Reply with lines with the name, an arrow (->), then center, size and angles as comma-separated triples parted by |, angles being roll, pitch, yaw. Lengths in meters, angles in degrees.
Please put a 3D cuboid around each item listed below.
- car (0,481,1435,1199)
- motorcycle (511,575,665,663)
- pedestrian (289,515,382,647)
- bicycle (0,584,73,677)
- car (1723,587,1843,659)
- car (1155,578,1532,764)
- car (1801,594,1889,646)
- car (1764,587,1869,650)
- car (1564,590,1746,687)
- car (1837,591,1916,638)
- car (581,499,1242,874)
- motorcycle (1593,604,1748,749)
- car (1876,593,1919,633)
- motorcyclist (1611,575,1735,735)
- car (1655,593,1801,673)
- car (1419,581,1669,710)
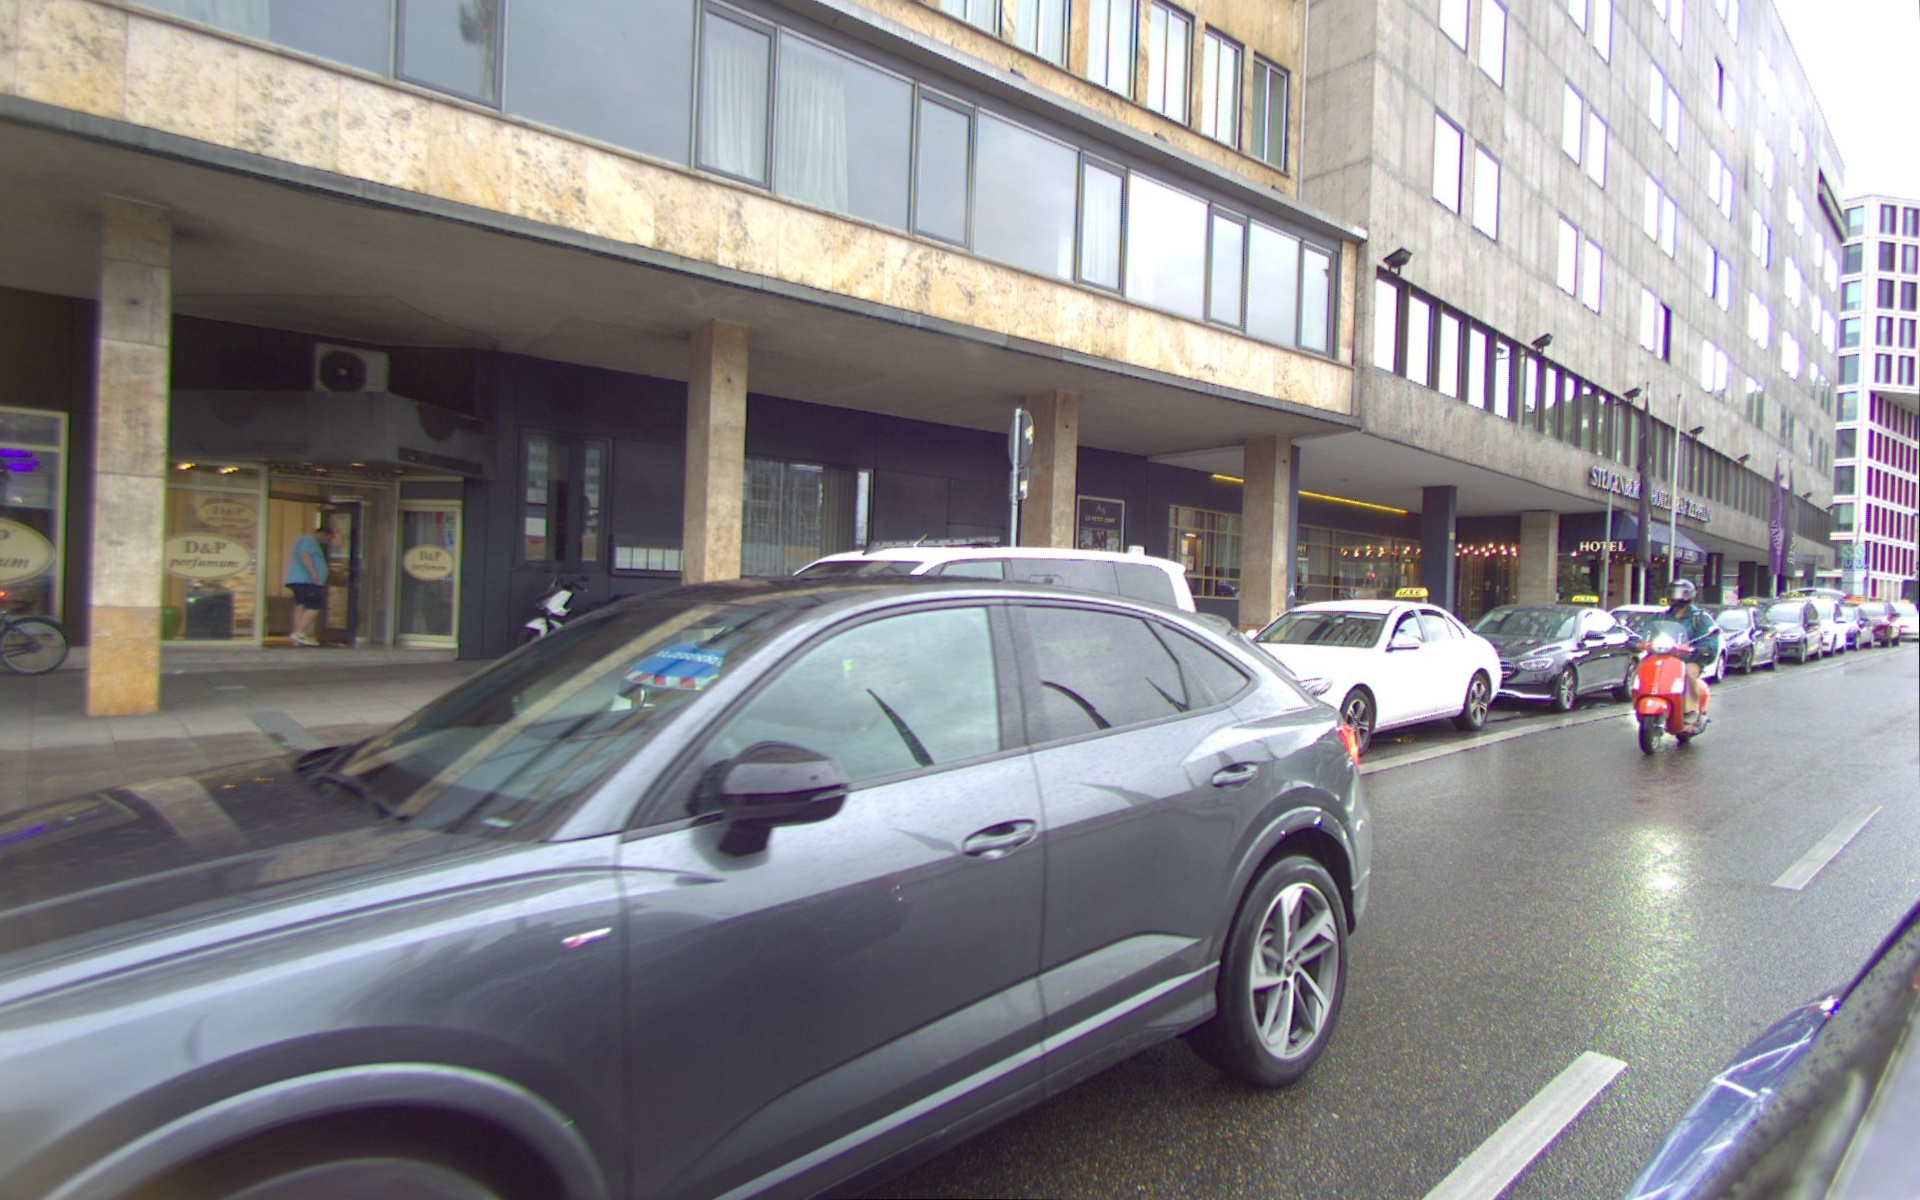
car -> -0.534, 0.606, 2.933 | 4.266, 1.520, 1.882 | 0, 0, -40
motorcycle -> -5.474, 0.260, 14.969 | 2.063, 1.233, 0.569 | 0, 0, -33
pedestrian -> -8.972, -0.265, 14.549 | 1.114, 1.813, 0.801 | 0, 0, -33
bicycle -> -11.631, 0.356, 11.421 | 2.428, 1.059, 0.657 | 0, 0, -41
car -> 21.930, 0.535, 26.892 | 4.731, 1.764, 1.729 | 0, 0, -41
car -> 4.468, 0.611, 11.332 | 4.924, 1.658, 1.877 | 0, 0, -41
car -> 29.721, 0.613, 33.962 | 3.932, 1.634, 1.729 | 0, 0, -41
car -> 25.713, 0.498, 30.325 | 4.731, 1.764, 1.729 | 0, 0, -41
car -> 13.153, 0.617, 19.032 | 4.731, 1.612, 1.729 | 0, 0, -41
car -> 33.683, 0.476, 37.161 | 3.932, 1.634, 1.729 | 0, 0, -41
car -> -0.072, 0.426, 7.572 | 4.850, 1.944, 1.877 | 0, 0, -41
motorcycle -> 7.276, 0.713, 10.332 | 1.931, 1.323, 0.848 | 0, 0, -41
car -> 41.221, 0.537, 43.947 | 3.932, 1.634, 1.729 | 0, 0, -41
motorcyclist -> 7.280, 0.524, 10.341 | 0.829, 1.547, 0.860 | 0, 0, -40
car -> 17.410, 0.655, 22.844 | 4.731, 1.612, 1.729 | 0, 0, -41
car -> 8.938, 0.568, 15.304 | 4.731, 1.658, 1.877 | 0, 0, -41
